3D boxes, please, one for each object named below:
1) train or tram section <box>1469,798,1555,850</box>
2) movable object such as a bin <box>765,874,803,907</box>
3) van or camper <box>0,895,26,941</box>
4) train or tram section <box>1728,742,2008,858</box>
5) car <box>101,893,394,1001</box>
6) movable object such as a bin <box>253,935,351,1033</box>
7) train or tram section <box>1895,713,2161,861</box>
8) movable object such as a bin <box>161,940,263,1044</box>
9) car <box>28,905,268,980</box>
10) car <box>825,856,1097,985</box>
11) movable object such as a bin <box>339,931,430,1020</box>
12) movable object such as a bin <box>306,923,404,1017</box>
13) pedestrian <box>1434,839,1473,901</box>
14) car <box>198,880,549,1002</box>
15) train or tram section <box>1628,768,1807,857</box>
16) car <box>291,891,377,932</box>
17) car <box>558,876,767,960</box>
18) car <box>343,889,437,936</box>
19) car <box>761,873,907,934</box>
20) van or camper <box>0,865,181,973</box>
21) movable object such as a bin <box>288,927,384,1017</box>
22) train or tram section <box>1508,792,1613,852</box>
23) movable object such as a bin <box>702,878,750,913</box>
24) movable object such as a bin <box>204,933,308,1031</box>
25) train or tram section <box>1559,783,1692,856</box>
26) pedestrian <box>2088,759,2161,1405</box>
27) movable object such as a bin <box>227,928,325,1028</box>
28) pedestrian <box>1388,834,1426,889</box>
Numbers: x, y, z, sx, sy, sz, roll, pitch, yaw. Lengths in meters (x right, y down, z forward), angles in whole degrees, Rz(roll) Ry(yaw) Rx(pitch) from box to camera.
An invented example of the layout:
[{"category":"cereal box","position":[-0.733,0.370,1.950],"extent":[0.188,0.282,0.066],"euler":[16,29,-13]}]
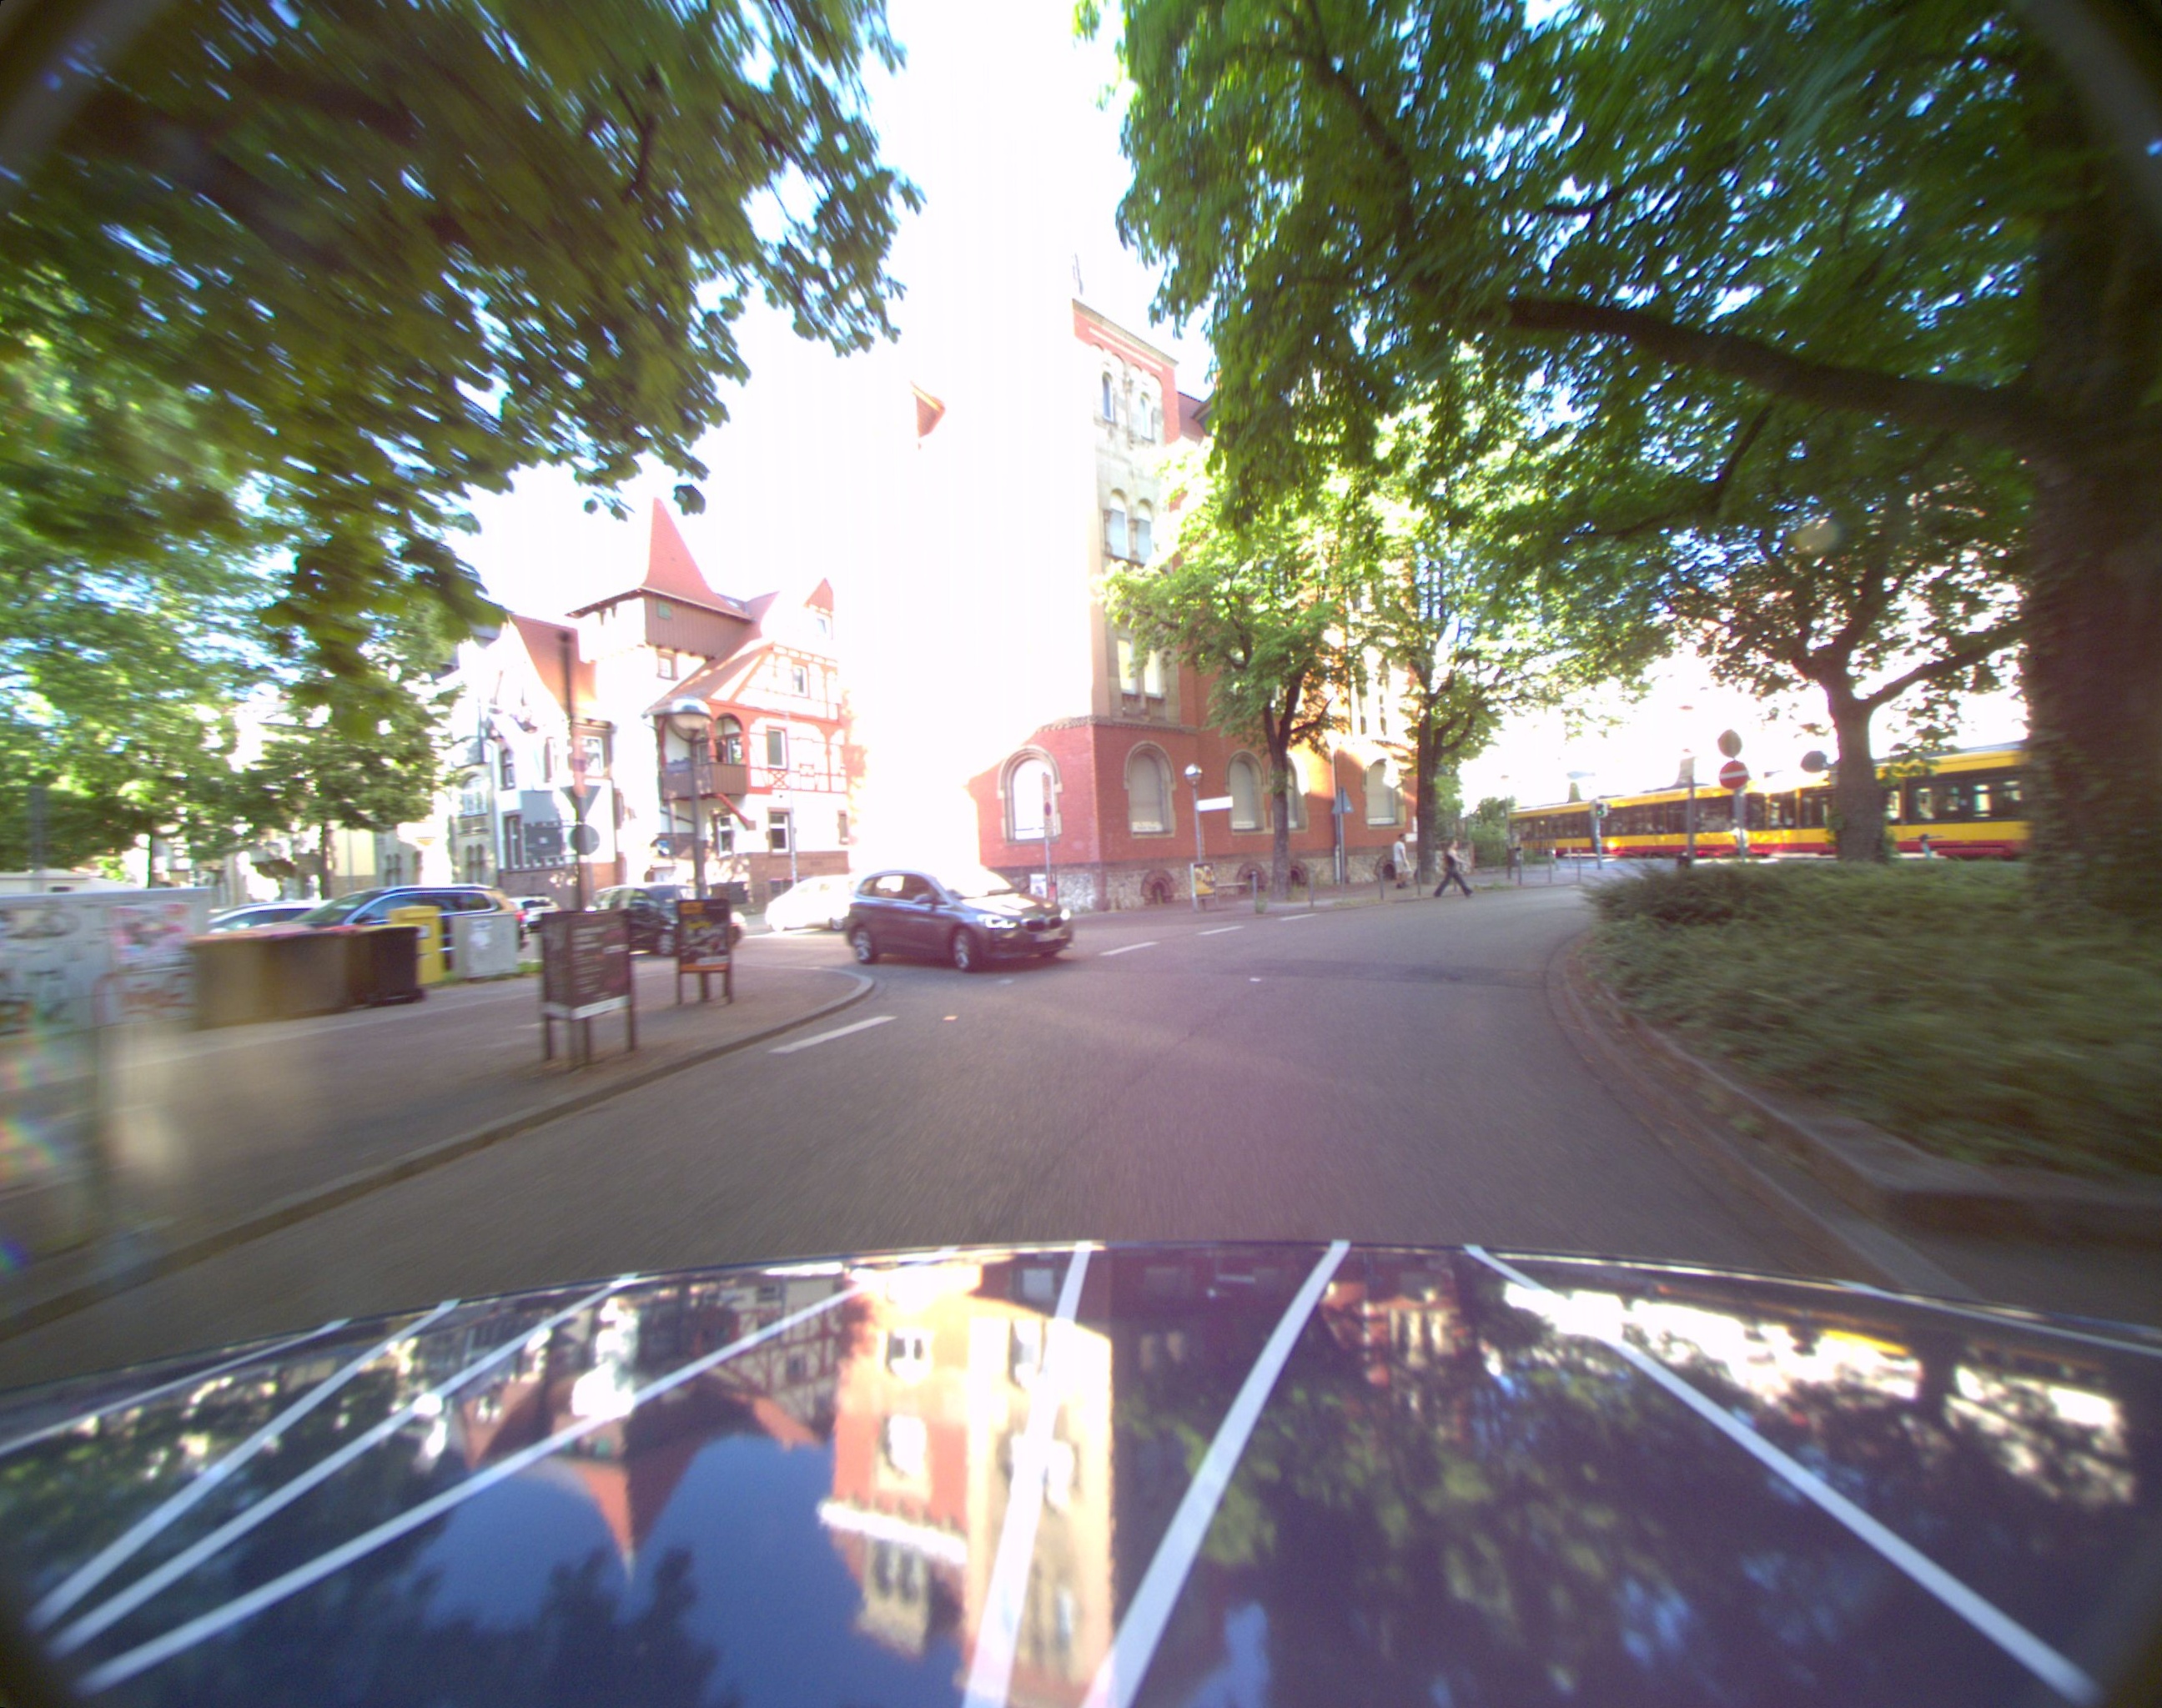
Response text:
[{"category":"train or tram section","position":[32.313,-2.190,57.382],"extent":[2.970,3.487,7.191],"euler":[-4,1,7]},{"category":"movable object such as a bin","position":[-12.803,1.567,32.839],"extent":[0.685,1.310,1.386],"euler":[-3,1,22]},{"category":"van or camper","position":[-71.251,4.222,46.624],"extent":[2.421,2.887,7.284],"euler":[-2,1,29]},{"category":"train or tram section","position":[28.776,-1.755,28.520],"extent":[2.918,3.593,7.864],"euler":[-3,0,7]},{"category":"car","position":[-16.778,1.768,15.492],"extent":[1.700,1.641,3.712],"euler":[-3,0,32]},{"category":"movable object such as a bin","position":[-9.563,1.567,9.332],"extent":[0.704,1.069,0.631],"euler":[-3,0,29]},{"category":"train or tram section","position":[27.941,-1.725,21.685],"extent":[2.918,3.619,6.350],"euler":[-3,0,7]},{"category":"movable object such as a bin","position":[-10.083,1.576,8.822],"extent":[0.672,1.077,0.594],"euler":[-3,0,28]},{"category":"car","position":[-23.652,2.176,19.407],"extent":[1.674,1.496,3.608],"euler":[-4,-2,30]},{"category":"car","position":[-2.105,0.977,12.375],"extent":[4.505,1.597,1.929],"euler":[-3,2,44]},{"category":"movable object such as a bin","position":[-9.240,1.588,10.091],"extent":[0.693,1.058,0.660],"euler":[-3,0,29]},{"category":"movable object such as a bin","position":[-9.889,1.558,10.360],"extent":[0.700,1.146,0.741],"euler":[-3,0,29]},{"category":"pedestrian","position":[9.968,0.430,20.314],"extent":[0.853,1.595,0.603],"euler":[-3,0,28]},{"category":"car","position":[-12.480,1.445,13.761],"extent":[2.019,1.702,4.126],"euler":[-4,-1,25]},{"category":"train or tram section","position":[29.706,-1.774,35.994],"extent":[2.930,3.578,7.192],"euler":[-4,0,7]},{"category":"car","position":[-38.232,2.936,38.864],"extent":[4.530,1.841,1.778],"euler":[-3,1,29]},{"category":"car","position":[-9.684,1.482,17.597],"extent":[4.252,1.584,2.002],"euler":[-4,2,25]},{"category":"car","position":[-32.158,2.721,35.343],"extent":[4.314,1.896,1.807],"euler":[-3,2,29]},{"category":"car","position":[-7.042,1.407,21.641],"extent":[3.788,1.477,1.713],"euler":[-3,2,29]},{"category":"van or camper","position":[-33.065,2.048,22.927],"extent":[2.459,3.059,7.111],"euler":[-3,0,26]},{"category":"movable object such as a bin","position":[-10.536,1.645,10.754],"extent":[0.714,1.146,0.741],"euler":[-3,0,29]},{"category":"train or tram section","position":[31.435,-2.030,50.246],"extent":[2.970,3.487,7.191],"euler":[-4,1,7]},{"category":"movable object such as a bin","position":[-14.230,1.662,30.481],"extent":[0.966,1.291,1.383],"euler":[-3,1,38]},{"category":"movable object such as a bin","position":[-10.886,1.656,10.033],"extent":[0.700,1.146,0.741],"euler":[-3,0,29]},{"category":"train or tram section","position":[30.565,-1.870,43.133],"extent":[2.935,3.570,7.191],"euler":[-4,1,7]},{"category":"pedestrian","position":[2.958,0.588,1.588],"extent":[0.778,1.674,0.920],"euler":[-3,0,39]},{"category":"movable object such as a bin","position":[-10.230,1.550,9.660],"extent":[0.700,1.146,0.635],"euler":[-3,1,29]},{"category":"pedestrian","position":[10.121,0.217,23.633],"extent":[0.859,1.633,0.870],"euler":[-3,0,12]}]
